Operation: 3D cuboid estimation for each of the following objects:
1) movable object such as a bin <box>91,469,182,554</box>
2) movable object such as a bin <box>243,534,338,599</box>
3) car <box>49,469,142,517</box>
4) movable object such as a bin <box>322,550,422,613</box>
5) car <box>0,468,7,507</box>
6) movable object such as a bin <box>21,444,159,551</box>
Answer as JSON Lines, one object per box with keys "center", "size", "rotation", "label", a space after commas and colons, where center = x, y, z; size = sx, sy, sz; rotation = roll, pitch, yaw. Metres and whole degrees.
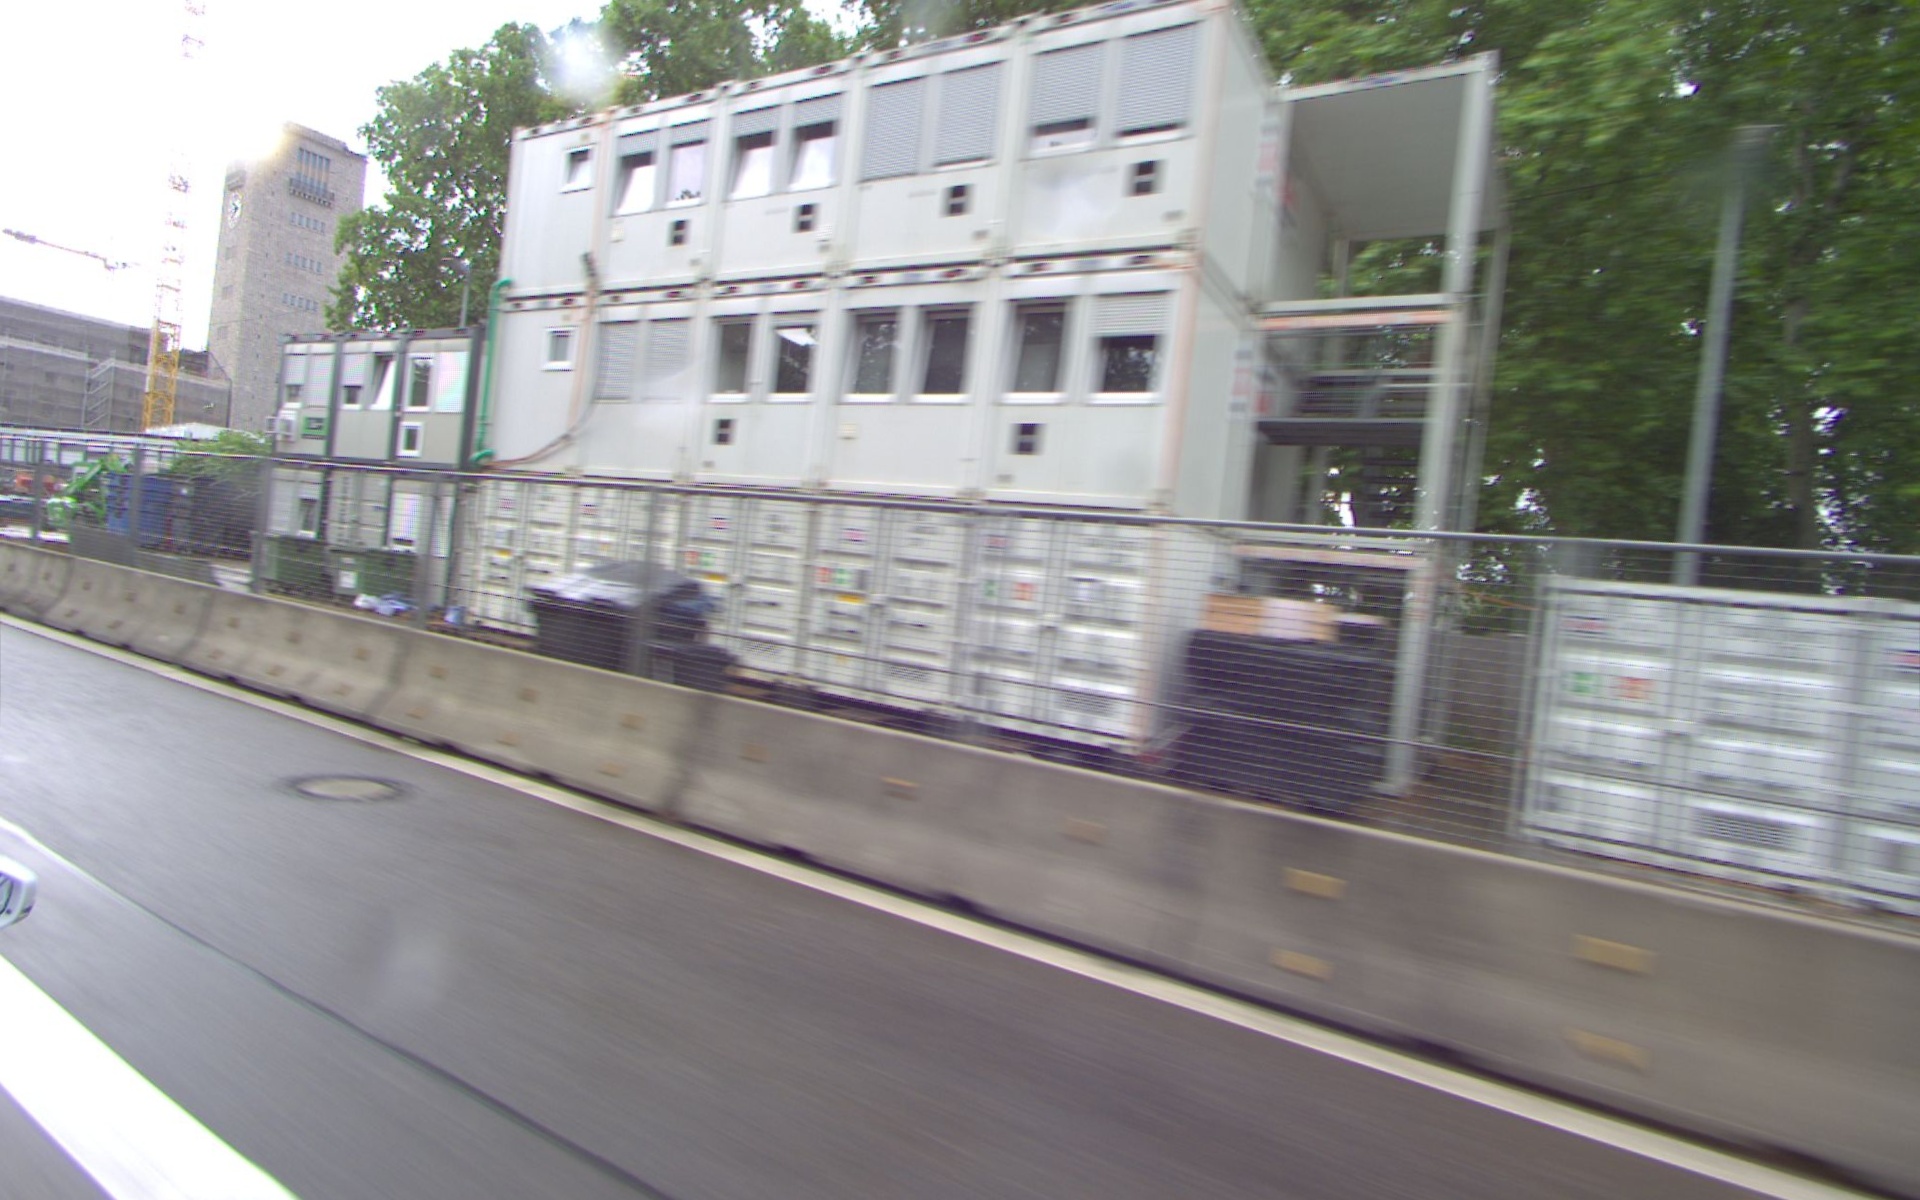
{"center": [-24.689, -2.631, 30.197], "size": [1.241, 2.231, 1.461], "rotation": [8, 1, 8], "label": "movable object such as a bin"}
{"center": [-14.293, -0.709, 21.489], "size": [1.219, 1.253, 1.247], "rotation": [5, 1, 30], "label": "movable object such as a bin"}
{"center": [-52.204, -6.474, 60.720], "size": [5.504, 2.344, 2.048], "rotation": [7, 2, 24], "label": "car"}
{"center": [-11.677, -0.353, 20.003], "size": [1.219, 1.138, 1.247], "rotation": [5, 1, 30], "label": "movable object such as a bin"}
{"center": [-48.998, -5.811, 49.403], "size": [5.000, 1.829, 1.849], "rotation": [9, 1, 31], "label": "car"}
{"center": [-27.886, -3.274, 32.222], "size": [3.797, 2.845, 1.811], "rotation": [8, 1, 26], "label": "movable object such as a bin"}
